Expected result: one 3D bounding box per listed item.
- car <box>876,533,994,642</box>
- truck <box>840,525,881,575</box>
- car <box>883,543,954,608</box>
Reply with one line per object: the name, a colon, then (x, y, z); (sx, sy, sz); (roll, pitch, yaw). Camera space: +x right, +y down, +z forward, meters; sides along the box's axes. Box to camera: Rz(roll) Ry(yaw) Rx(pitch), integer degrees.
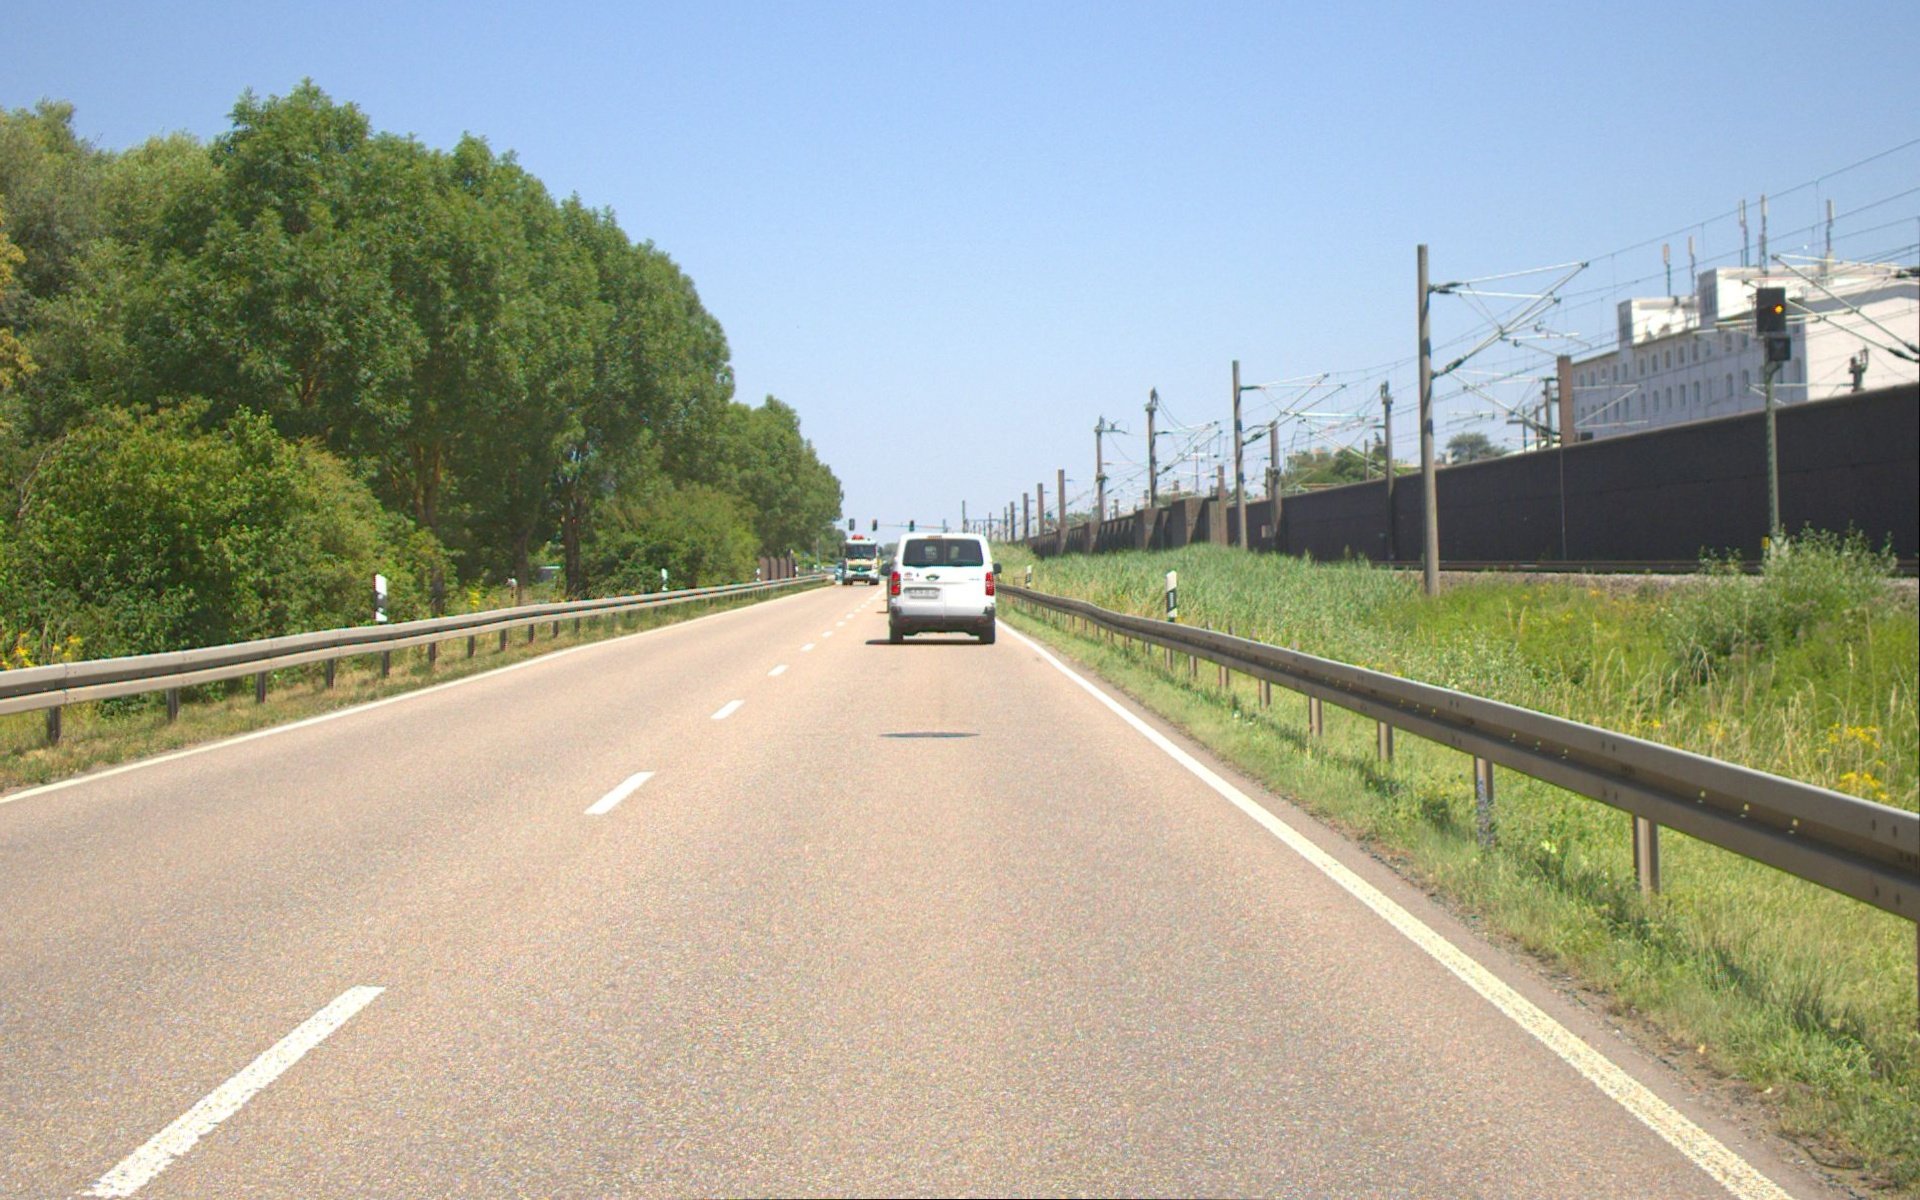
car: (-0.444, -0.236, 60.840); (1.993, 1.844, 4.000); (1, 1, -1)
truck: (-6.954, -3.487, 241.348); (2.783, 3.393, 7.989); (1, 1, -1)
car: (-1.196, -0.719, 99.696); (1.993, 1.844, 4.000); (1, 1, -1)
